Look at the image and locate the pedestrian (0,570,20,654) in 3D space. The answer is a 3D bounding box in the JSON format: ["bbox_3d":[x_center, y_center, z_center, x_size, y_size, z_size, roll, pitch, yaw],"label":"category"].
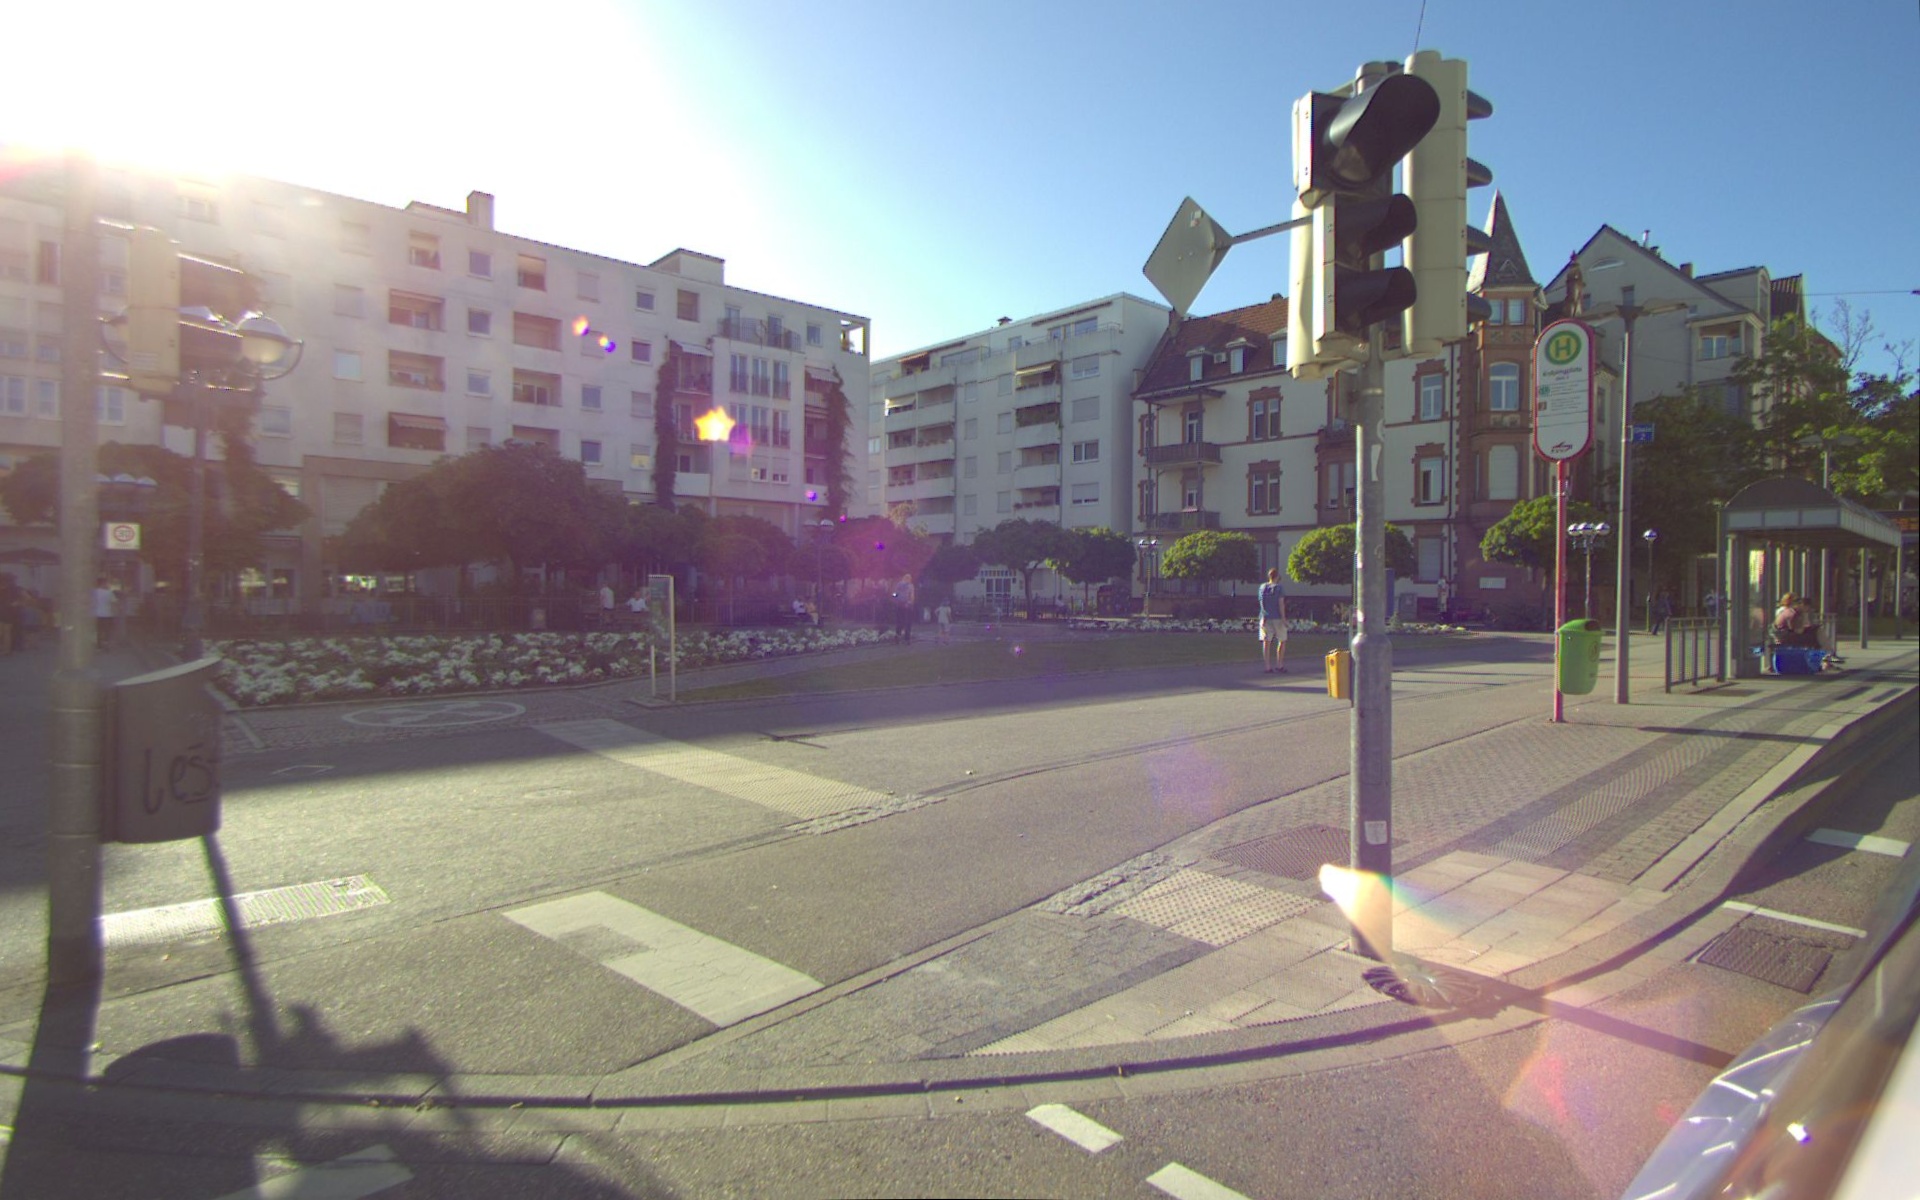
[{"bbox_3d":[-19.731,0.238,20.684,0.682,1.706,0.904,0,0,-37],"label":"pedestrian"}]

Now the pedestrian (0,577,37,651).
[{"bbox_3d":[-20.929,0.306,22.405,0.650,1.605,0.904,0,0,-37],"label":"pedestrian"}]

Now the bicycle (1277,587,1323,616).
[{"bbox_3d":[16.358,0.065,48.660,2.864,1.389,0.745,0,0,-42],"label":"bicycle"}]

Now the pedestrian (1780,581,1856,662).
[{"bbox_3d":[14.860,0.371,17.532,0.612,1.351,0.860,0,-2,-41],"label":"pedestrian"}]

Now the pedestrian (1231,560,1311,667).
[{"bbox_3d":[5.743,0.244,18.687,1.110,1.901,0.982,1,-1,-43],"label":"pedestrian"}]

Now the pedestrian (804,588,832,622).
[{"bbox_3d":[-5.345,0.183,38.146,0.737,1.288,0.725,1,0,28],"label":"pedestrian"}]

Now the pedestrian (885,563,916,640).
[{"bbox_3d":[-1.392,0.023,23.682,0.516,1.767,0.560,0,0,-31],"label":"pedestrian"}]

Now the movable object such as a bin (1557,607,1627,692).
[{"bbox_3d":[6.197,0.468,9.922,0.480,0.796,0.450,0,0,-38],"label":"movable object such as a bin"}]

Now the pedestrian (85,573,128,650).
[{"bbox_3d":[-18.196,0.232,21.598,0.650,1.605,0.904,0,0,-37],"label":"pedestrian"}]

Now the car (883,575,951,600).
[{"bbox_3d":[-2.775,-0.816,65.593,3.924,1.536,2.000,0,1,-35],"label":"car"}]

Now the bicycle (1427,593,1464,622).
[{"bbox_3d":[20.132,0.280,41.928,0.786,1.081,2.768,1,2,39],"label":"bicycle"}]

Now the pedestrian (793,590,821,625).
[{"bbox_3d":[-5.678,0.263,37.502,0.737,1.288,0.725,1,0,28],"label":"pedestrian"}]

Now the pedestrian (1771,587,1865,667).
[{"bbox_3d":[13.955,0.432,16.465,0.907,1.241,1.000,-1,-2,-41],"label":"pedestrian"}]

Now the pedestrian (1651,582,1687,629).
[{"bbox_3d":[25.921,0.196,37.016,1.063,1.689,0.944,1,0,36],"label":"pedestrian"}]

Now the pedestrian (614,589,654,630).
[{"bbox_3d":[-10.687,0.298,33.178,1.031,1.287,0.725,1,0,29],"label":"pedestrian"}]

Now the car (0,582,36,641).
[{"bbox_3d":[-26.005,0.272,26.684,3.982,1.505,1.971,1,1,41],"label":"car"}]

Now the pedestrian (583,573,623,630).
[{"bbox_3d":[-11.096,0.028,31.481,1.018,1.746,0.668,1,0,29],"label":"pedestrian"}]

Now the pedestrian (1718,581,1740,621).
[{"bbox_3d":[34.684,0.044,45.646,0.739,1.757,0.864,0,0,42],"label":"pedestrian"}]

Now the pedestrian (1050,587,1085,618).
[{"bbox_3d":[4.978,0.101,46.907,0.917,1.429,1.529,0,0,-30],"label":"pedestrian"}]

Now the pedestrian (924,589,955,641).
[{"bbox_3d":[-0.472,0.341,23.710,0.547,1.183,0.471,-1,0,-32],"label":"pedestrian"}]

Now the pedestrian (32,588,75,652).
[{"bbox_3d":[-19.002,0.406,21.222,0.593,1.295,0.904,0,0,-37],"label":"pedestrian"}]
